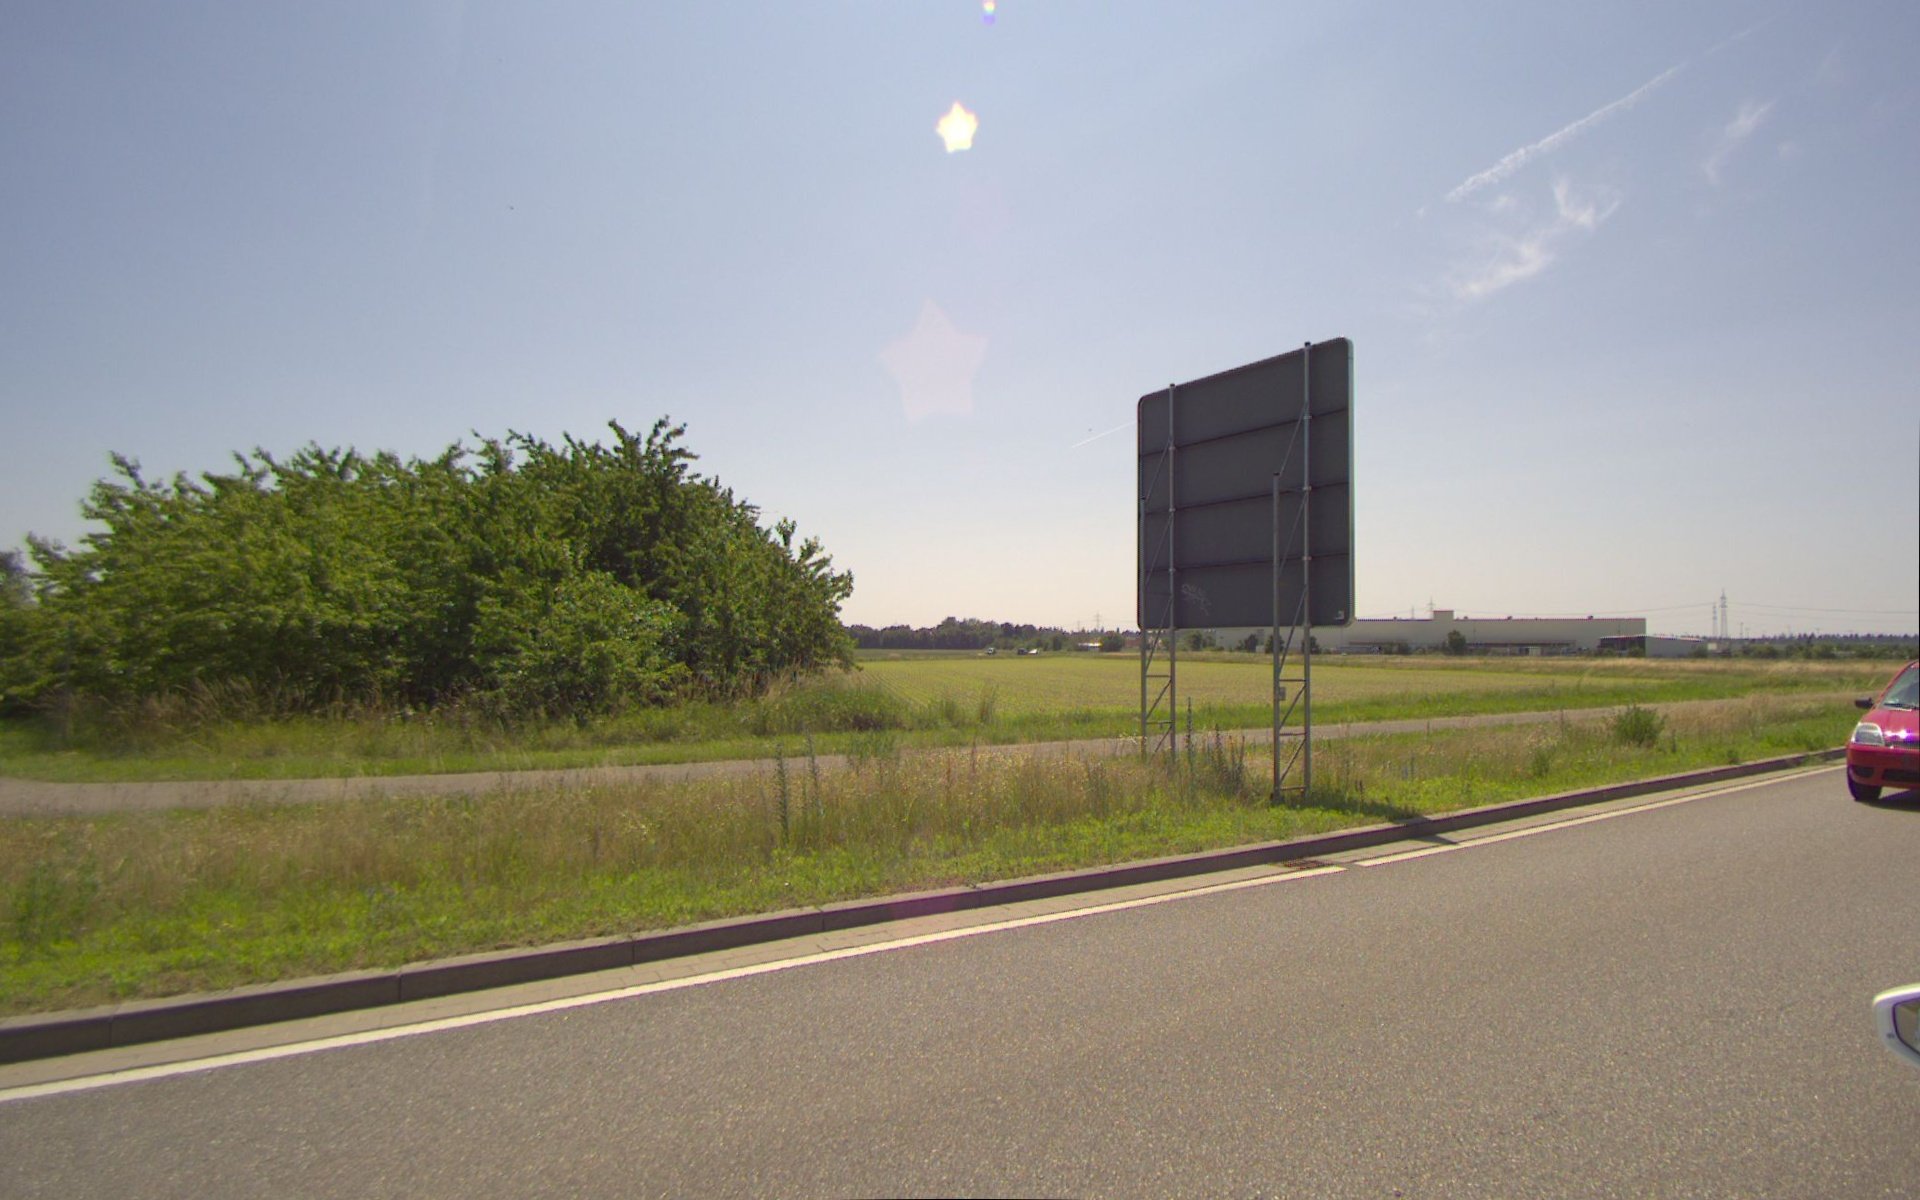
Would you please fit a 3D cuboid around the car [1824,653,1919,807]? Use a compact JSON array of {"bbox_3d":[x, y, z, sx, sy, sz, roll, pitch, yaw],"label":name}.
[{"bbox_3d":[10.682,1.286,10.503,3.700,1.452,1.644,2,-5,-36],"label":"car"}]
